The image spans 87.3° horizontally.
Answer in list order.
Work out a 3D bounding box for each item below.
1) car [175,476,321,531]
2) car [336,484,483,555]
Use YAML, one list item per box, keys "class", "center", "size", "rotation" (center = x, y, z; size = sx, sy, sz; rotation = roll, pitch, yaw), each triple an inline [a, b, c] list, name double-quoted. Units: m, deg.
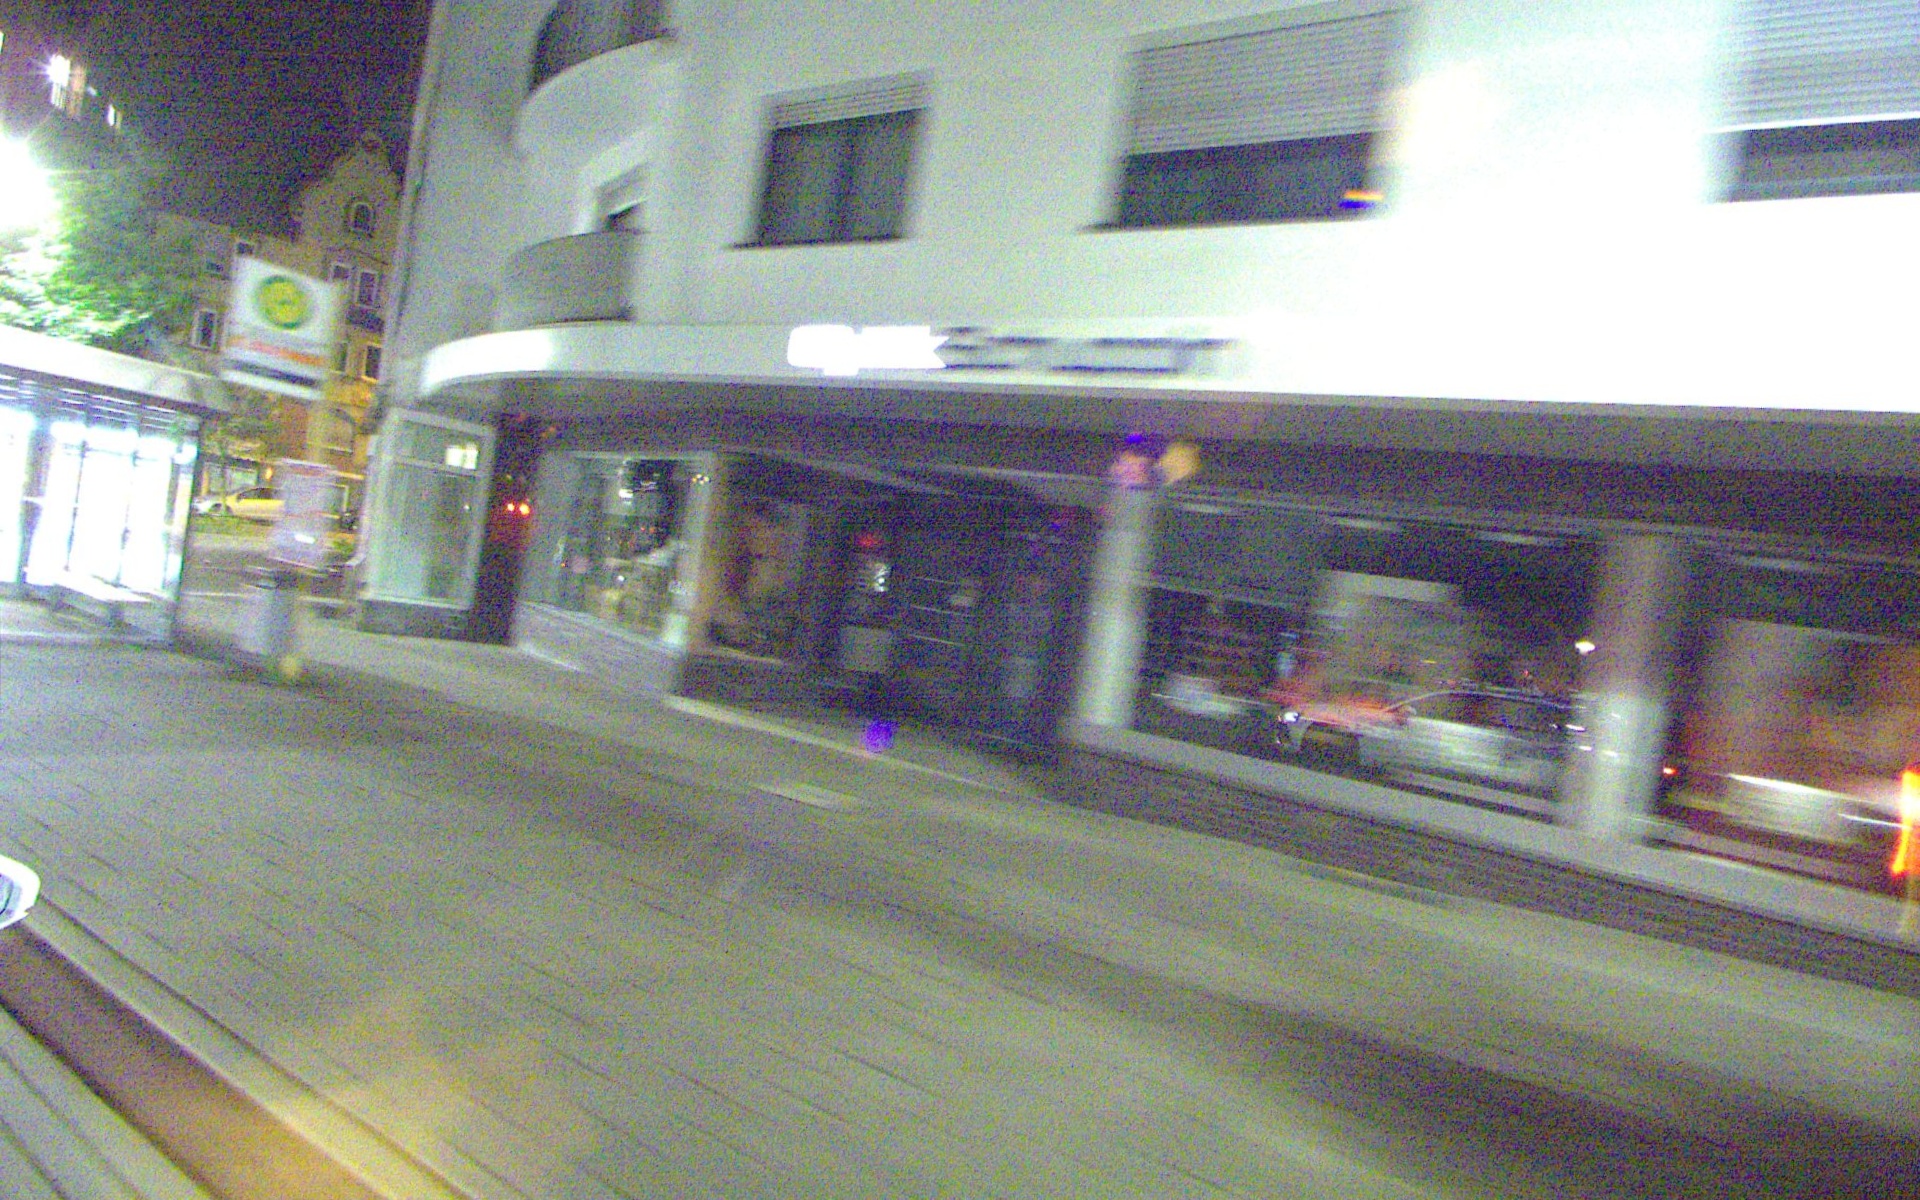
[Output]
- class: "car"
  center: [-26.374, -3.549, 37.355]
  size: [1.798, 1.472, 4.035]
  rotation: [8, 2, 39]
- class: "car"
  center: [-21.997, -3.173, 40.463]
  size: [4.782, 1.932, 2.149]
  rotation: [8, -2, -23]
